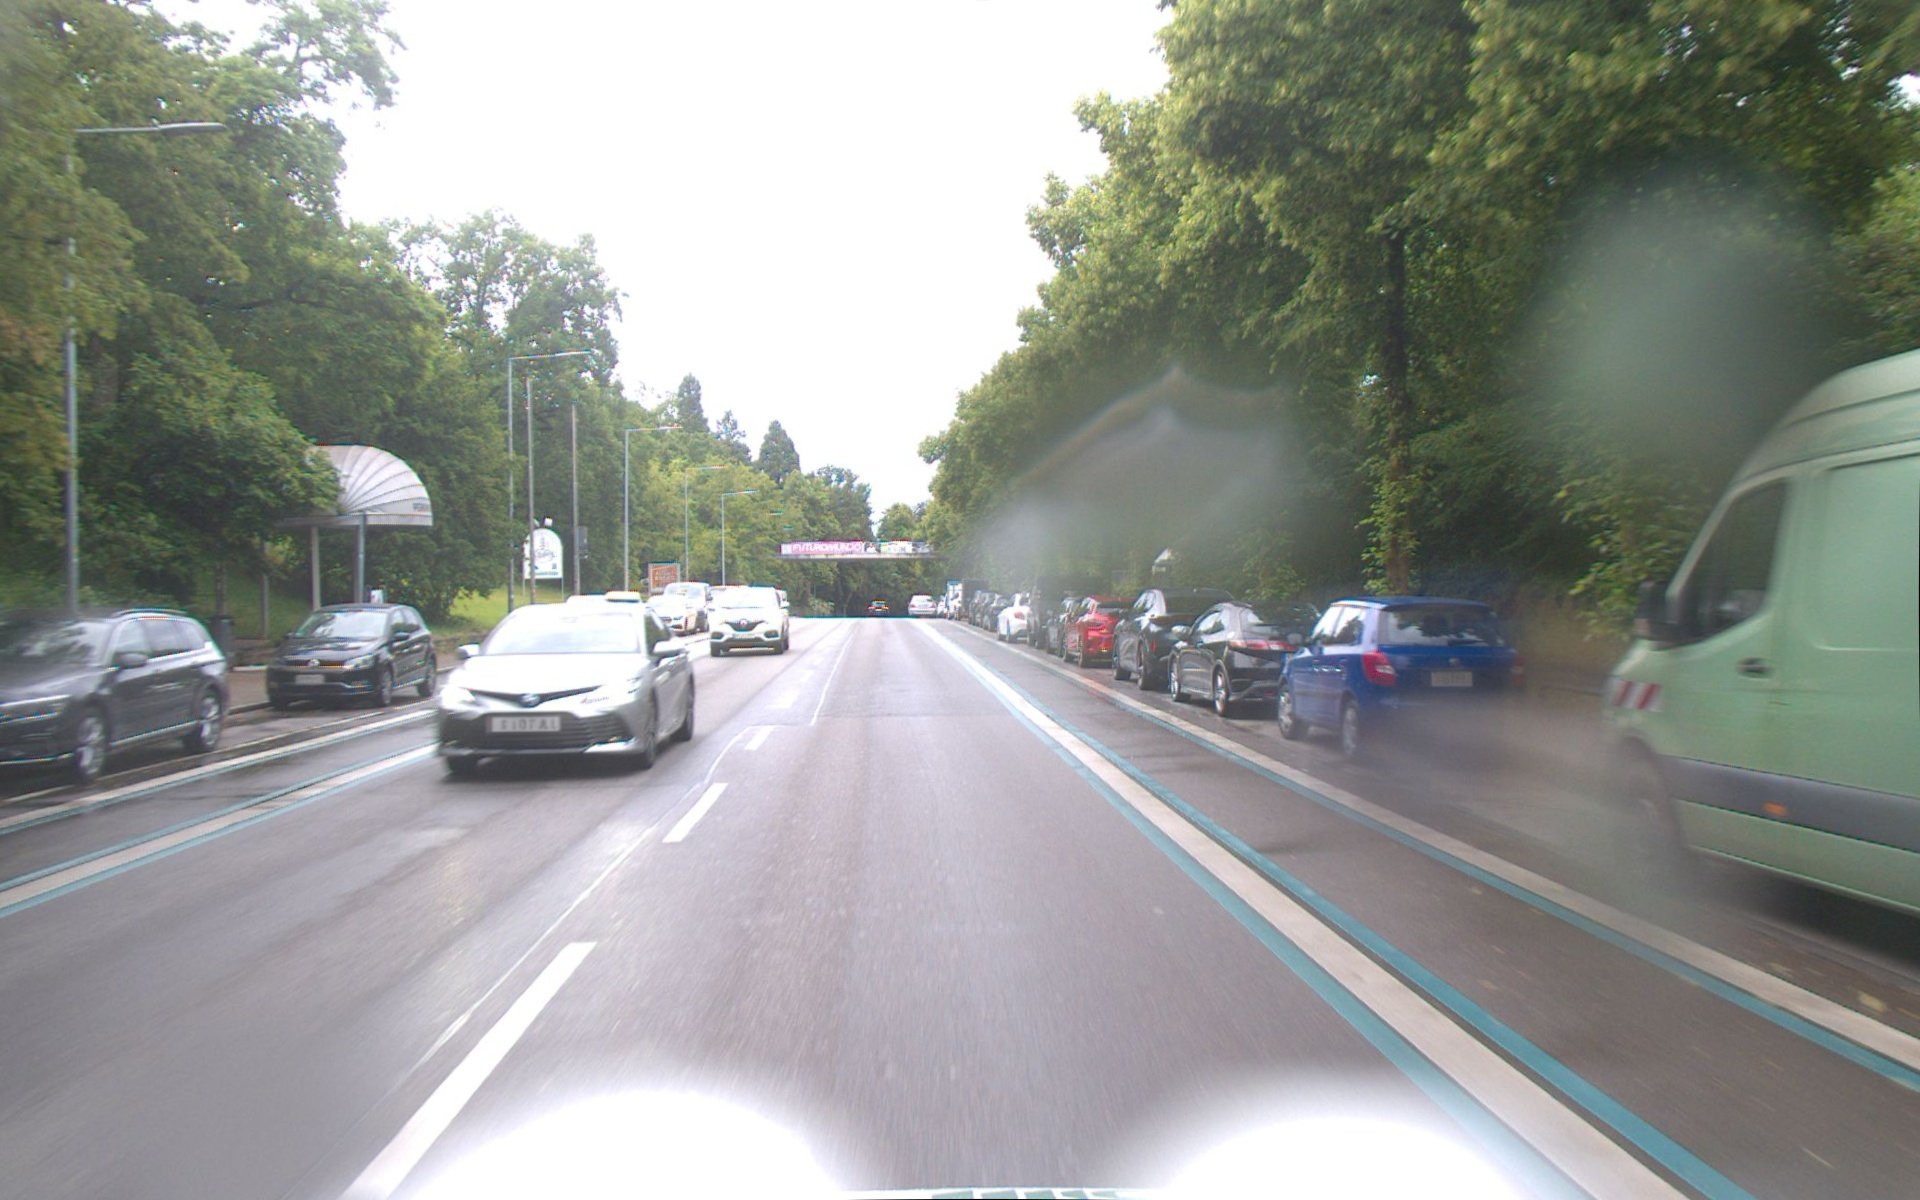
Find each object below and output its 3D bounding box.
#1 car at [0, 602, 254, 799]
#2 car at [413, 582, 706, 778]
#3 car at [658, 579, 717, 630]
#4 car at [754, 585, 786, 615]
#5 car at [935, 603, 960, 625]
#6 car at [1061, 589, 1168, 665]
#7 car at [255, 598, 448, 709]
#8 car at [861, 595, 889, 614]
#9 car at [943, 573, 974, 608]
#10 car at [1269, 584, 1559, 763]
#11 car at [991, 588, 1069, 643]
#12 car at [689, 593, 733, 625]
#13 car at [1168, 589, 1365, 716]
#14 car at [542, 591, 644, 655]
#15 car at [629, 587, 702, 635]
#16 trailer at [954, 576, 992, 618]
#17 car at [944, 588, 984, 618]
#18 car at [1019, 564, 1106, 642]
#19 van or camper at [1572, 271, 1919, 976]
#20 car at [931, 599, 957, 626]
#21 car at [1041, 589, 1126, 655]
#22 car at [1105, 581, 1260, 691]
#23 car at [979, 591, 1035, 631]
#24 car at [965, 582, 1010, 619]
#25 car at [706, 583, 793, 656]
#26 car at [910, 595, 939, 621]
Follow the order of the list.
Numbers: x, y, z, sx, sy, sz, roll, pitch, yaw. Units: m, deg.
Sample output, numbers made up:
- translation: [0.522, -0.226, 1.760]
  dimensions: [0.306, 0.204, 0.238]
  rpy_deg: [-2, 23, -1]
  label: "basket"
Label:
- translation: [-8.435, 0.809, 15.597]
  dimensions: [1.918, 1.488, 4.751]
  rpy_deg: [0, 1, -6]
  label: "car"
- translation: [-3.630, 0.639, 15.865]
  dimensions: [1.883, 1.588, 4.618]
  rpy_deg: [0, 0, -3]
  label: "car"
- translation: [-11.166, 0.149, 68.048]
  dimensions: [1.875, 1.965, 4.924]
  rpy_deg: [0, 1, -4]
  label: "car"
- translation: [-13.098, -0.006, 114.111]
  dimensions: [1.721, 1.965, 4.193]
  rpy_deg: [0, 1, 0]
  label: "car"
- translation: [-0.901, 1.015, 117.772]
  dimensions: [1.696, 1.488, 4.043]
  rpy_deg: [-1, 0, -2]
  label: "car"
- translation: [3.196, 0.526, 34.965]
  dimensions: [1.652, 1.478, 4.163]
  rpy_deg: [1, 0, -3]
  label: "car"
- translation: [-9.038, 0.735, 24.893]
  dimensions: [1.638, 1.483, 3.990]
  rpy_deg: [-1, 1, -4]
  label: "car"
- translation: [-7.189, 0.347, 139.021]
  dimensions: [2.099, 1.518, 4.492]
  rpy_deg: [1, 0, -6]
  label: "car"
- translation: [-0.103, -0.591, 105.481]
  dimensions: [1.851, 2.164, 4.043]
  rpy_deg: [0, 0, -2]
  label: "car"
- translation: [4.340, 0.625, 16.407]
  dimensions: [1.652, 1.540, 3.833]
  rpy_deg: [1, 0, -3]
  label: "car"
- translation: [2.082, 0.439, 50.589]
  dimensions: [1.754, 1.570, 4.885]
  rpy_deg: [1, 0, -5]
  label: "car"
- translation: [-11.774, 0.392, 78.485]
  dimensions: [1.697, 1.414, 4.367]
  rpy_deg: [0, 1, -4]
  label: "car"
- translation: [3.961, 0.623, 22.007]
  dimensions: [1.652, 1.481, 4.144]
  rpy_deg: [1, 0, -3]
  label: "car"
- translation: [-9.513, 0.546, 43.176]
  dimensions: [2.037, 1.508, 4.668]
  rpy_deg: [-1, 1, -6]
  label: "car"
- translation: [-10.924, 0.374, 61.747]
  dimensions: [1.950, 1.633, 4.983]
  rpy_deg: [-1, 1, -2]
  label: "car"
- translation: [0.675, -0.181, 88.816]
  dimensions: [1.846, 2.203, 3.806]
  rpy_deg: [-1, 0, -2]
  label: "trailer"
- translation: [0.221, 0.139, 92.908]
  dimensions: [1.698, 1.611, 4.147]
  rpy_deg: [-1, 0, -8]
  label: "car"
- translation: [2.777, 0.063, 45.738]
  dimensions: [1.888, 2.057, 4.661]
  rpy_deg: [0, 0, -3]
  label: "car"
- translation: [4.799, 0.109, 6.247]
  dimensions: [2.002, 2.777, 6.895]
  rpy_deg: [1, 0, -4]
  label: "van or camper"
- translation: [-1.091, 0.828, 111.056]
  dimensions: [1.696, 1.713, 4.043]
  rpy_deg: [-1, 0, -2]
  label: "car"
- translation: [2.940, 0.500, 39.922]
  dimensions: [1.574, 1.478, 3.745]
  rpy_deg: [1, 0, -3]
  label: "car"
- translation: [3.551, 0.526, 27.142]
  dimensions: [1.721, 1.617, 4.496]
  rpy_deg: [1, 0, -3]
  label: "car"
- translation: [1.803, 0.400, 64.729]
  dimensions: [1.697, 1.489, 4.273]
  rpy_deg: [1, 1, -5]
  label: "car"
- translation: [1.242, 0.012, 76.635]
  dimensions: [1.697, 1.611, 4.150]
  rpy_deg: [1, 0, -5]
  label: "car"
- translation: [-5.217, 0.444, 41.429]
  dimensions: [1.759, 1.680, 4.127]
  rpy_deg: [-2, 1, -2]
  label: "car"
- translation: [-2.310, 0.498, 105.998]
  dimensions: [1.696, 1.611, 4.034]
  rpy_deg: [-1, 0, -3]
  label: "car"
